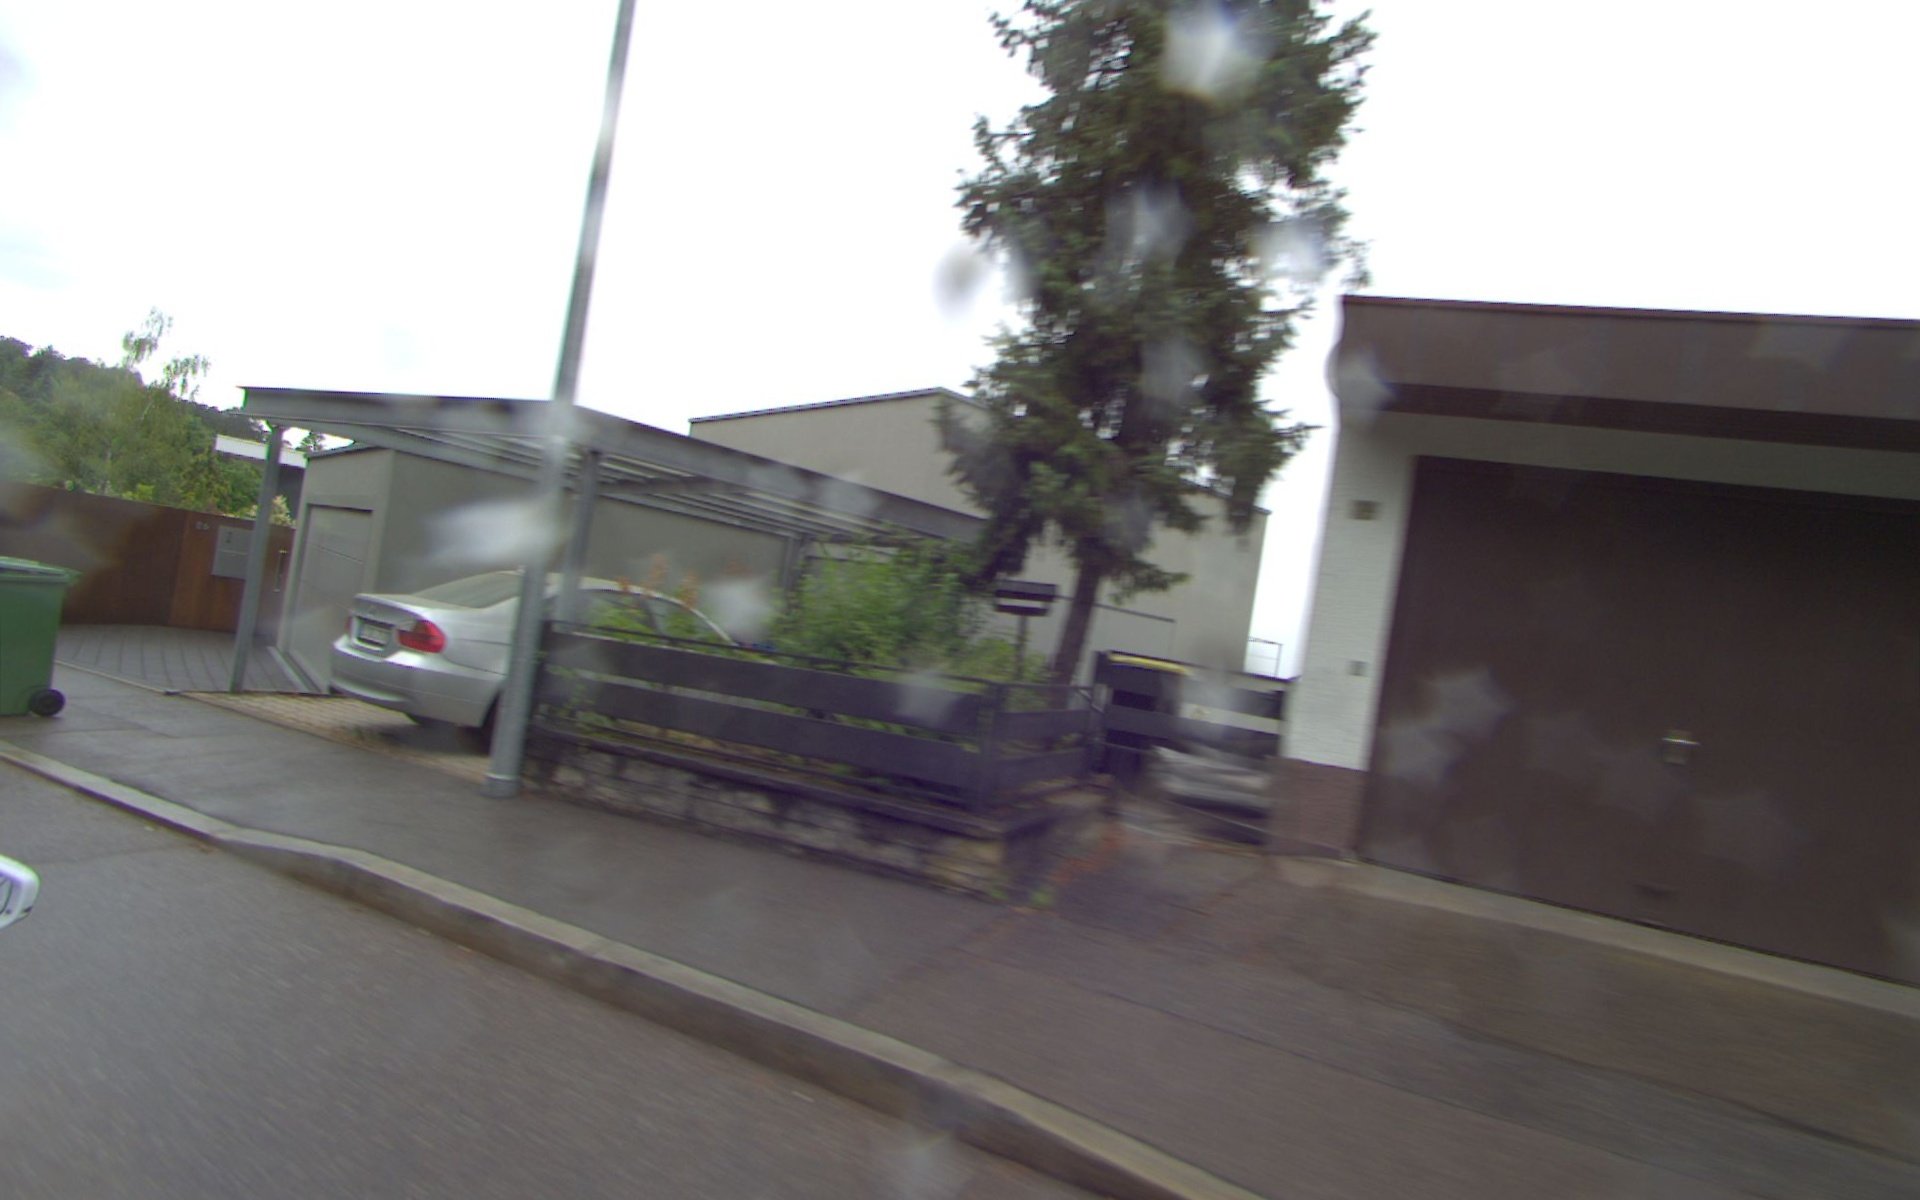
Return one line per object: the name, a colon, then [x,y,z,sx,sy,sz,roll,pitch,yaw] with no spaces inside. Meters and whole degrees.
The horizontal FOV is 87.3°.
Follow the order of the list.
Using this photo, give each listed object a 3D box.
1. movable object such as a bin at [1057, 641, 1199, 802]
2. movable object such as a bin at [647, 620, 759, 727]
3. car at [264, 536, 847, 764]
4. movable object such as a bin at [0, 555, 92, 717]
movable object such as a bin: [1.314,0.942,7.789,0.765,1.051,0.798,9,-4,24]
movable object such as a bin: [-2.905,0.839,11.377,0.950,1.070,0.565,8,1,-42]
car: [-3.212,0.549,8.756,1.913,1.430,4.219,5,-4,39]
movable object such as a bin: [-6.907,0.240,7.236,0.664,1.110,0.790,6,2,29]
